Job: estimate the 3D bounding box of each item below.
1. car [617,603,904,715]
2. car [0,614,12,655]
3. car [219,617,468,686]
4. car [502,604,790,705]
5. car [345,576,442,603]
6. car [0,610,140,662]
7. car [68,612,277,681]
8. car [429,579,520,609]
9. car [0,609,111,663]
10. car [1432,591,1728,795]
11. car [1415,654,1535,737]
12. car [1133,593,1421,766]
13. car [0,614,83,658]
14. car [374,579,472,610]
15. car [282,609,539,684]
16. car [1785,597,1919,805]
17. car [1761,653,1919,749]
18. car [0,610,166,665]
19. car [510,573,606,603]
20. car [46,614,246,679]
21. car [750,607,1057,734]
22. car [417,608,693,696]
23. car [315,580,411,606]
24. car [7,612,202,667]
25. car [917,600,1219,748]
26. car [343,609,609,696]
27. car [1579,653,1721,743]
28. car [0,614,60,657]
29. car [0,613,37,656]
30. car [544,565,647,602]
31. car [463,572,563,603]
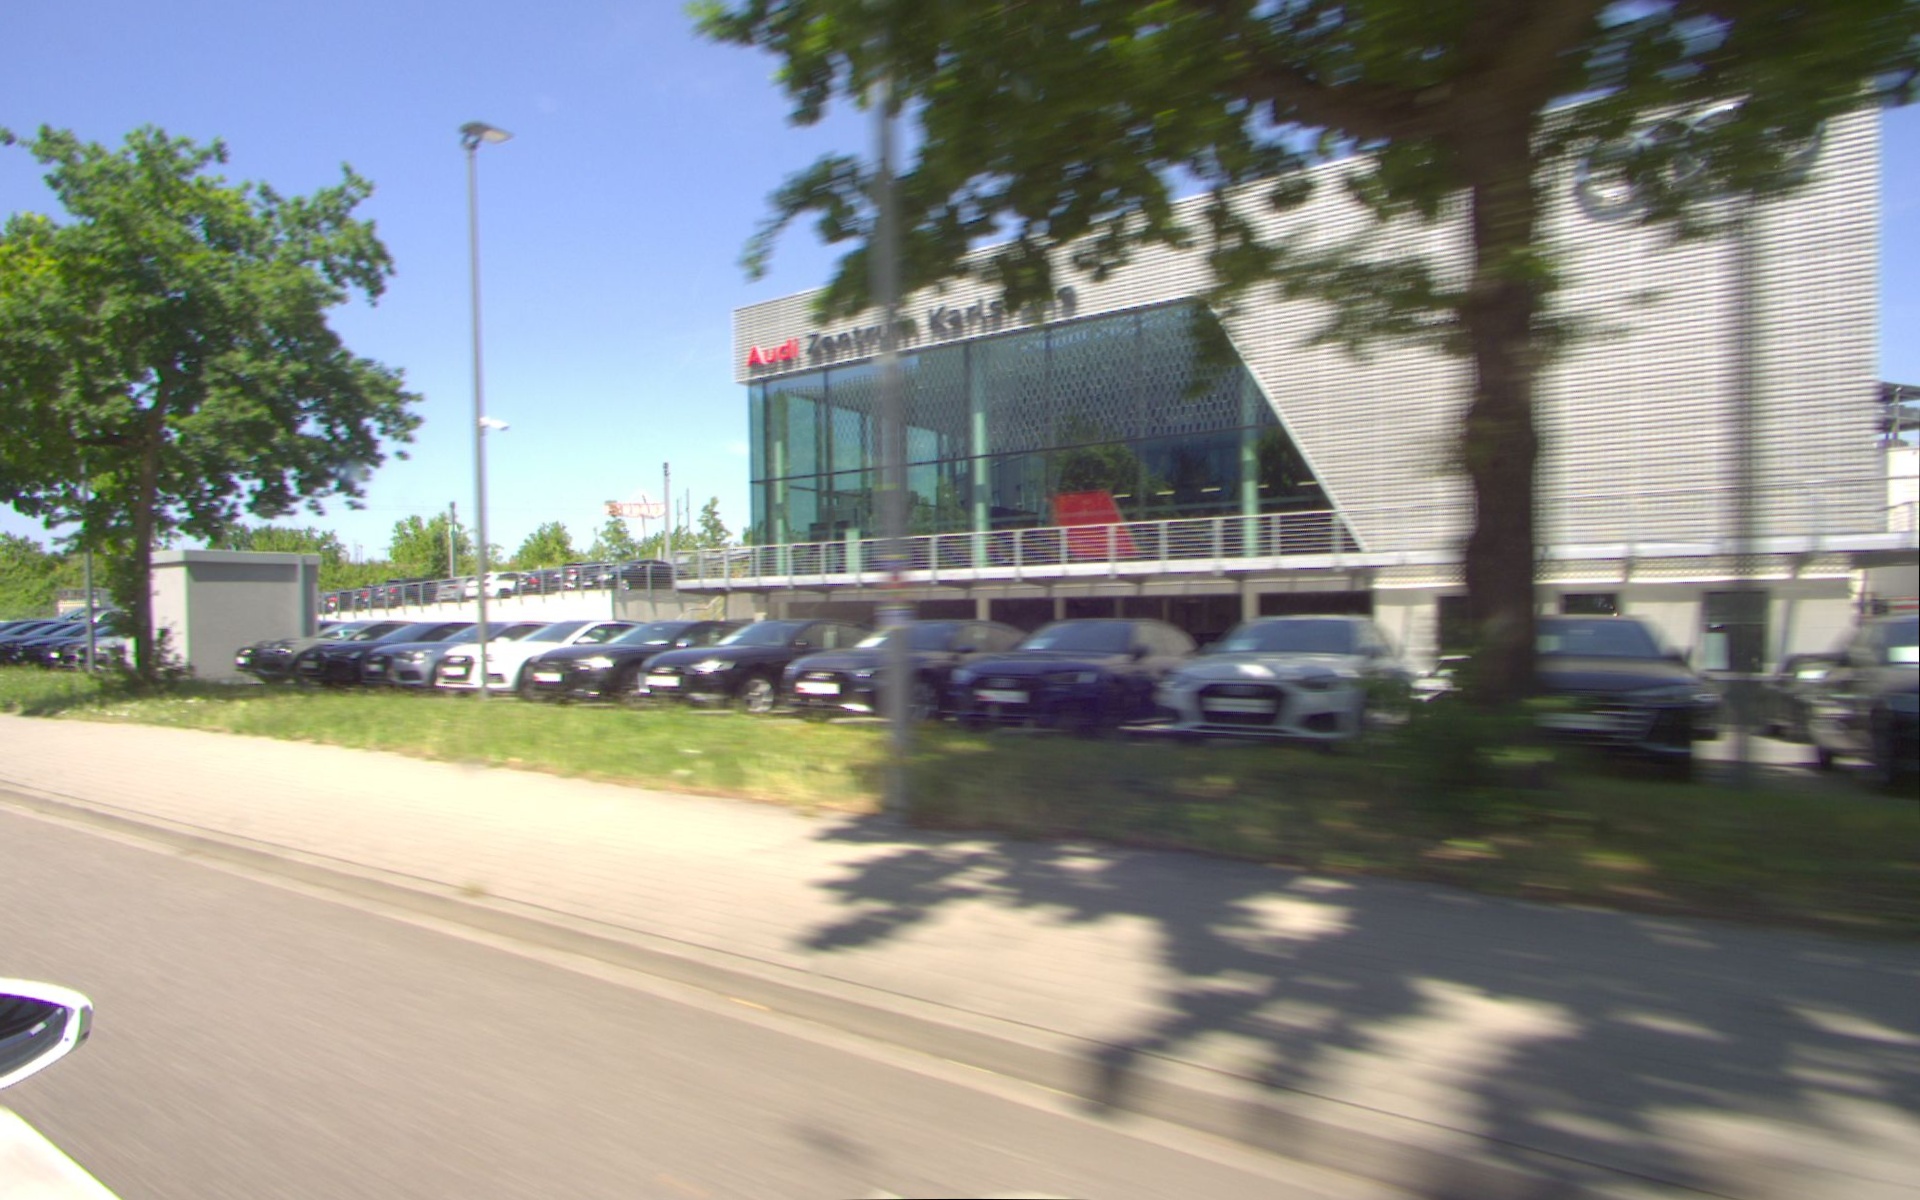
[{"bbox_3d":[-2.759,0.941,14.750,1.754,1.397,4.127,-1,-5,32],"label":"car"},{"bbox_3d":[-40.524,1.262,39.661,1.770,1.623,3.864,0,-5,28],"label":"car"},{"bbox_3d":[-13.296,1.167,21.861,1.890,1.358,4.216,-1,-4,32],"label":"car"},{"bbox_3d":[-4.923,0.959,16.307,1.890,1.401,4.218,-1,-6,32],"label":"car"},{"bbox_3d":[-28.829,-0.510,51.047,1.770,1.329,3.983,-1,0,28],"label":"car"},{"bbox_3d":[-29.658,1.189,32.716,1.770,1.456,3.990,-1,-5,28],"label":"car"},{"bbox_3d":[-21.094,1.301,27.008,1.770,1.637,3.990,0,-5,28],"label":"car"},{"bbox_3d":[-22.626,-0.255,46.788,1.651,1.255,3.522,-1,-2,28],"label":"car"},{"bbox_3d":[-31.850,1.233,34.147,1.770,1.643,3.990,0,-5,28],"label":"car"},{"bbox_3d":[5.708,0.807,9.319,1.890,1.424,4.216,-1,-4,32],"label":"car"},{"bbox_3d":[10.036,1.797,19.352,1.708,1.381,4.216,-1,-4,32],"label":"car"},{"bbox_3d":[3.533,0.811,10.559,1.890,1.424,4.216,-1,-4,32],"label":"car"},{"bbox_3d":[-34.167,1.262,35.640,1.770,1.439,3.990,-1,-5,28],"label":"car"},{"bbox_3d":[-26.575,-0.237,49.661,1.770,1.328,3.986,-1,-2,28],"label":"car"},{"bbox_3d":[-11.137,1.007,20.600,1.890,1.358,4.216,-1,-4,32],"label":"car"},{"bbox_3d":[8.142,0.801,8.008,1.852,1.372,4.216,-1,-4,32],"label":"car"},{"bbox_3d":[14.333,1.592,16.194,1.671,1.358,4.064,-2,-5,32],"label":"car"},{"bbox_3d":[-27.664,1.206,31.315,1.770,1.456,3.990,-1,-5,28],"label":"car"},{"bbox_3d":[-17.624,-0.508,44.018,1.658,1.145,3.723,-1,-2,28],"label":"car"},{"bbox_3d":[-22.811,1.368,28.233,1.770,1.600,3.919,0,-5,28],"label":"car"},{"bbox_3d":[-0.553,0.932,13.272,1.960,1.386,4.216,-1,-4,32],"label":"car"},{"bbox_3d":[-7.013,0.961,17.793,1.890,1.358,4.216,-1,-4,32],"label":"car"},{"bbox_3d":[-31.329,-0.350,52.645,1.770,1.329,3.983,-1,0,28],"label":"car"},{"bbox_3d":[-25.359,1.219,29.837,1.770,1.393,3.990,-1,-5,28],"label":"car"},{"bbox_3d":[1.480,0.887,11.902,1.890,1.424,4.217,-1,-5,32],"label":"car"},{"bbox_3d":[-9.118,1.045,19.232,1.890,1.470,4.216,-1,-4,32],"label":"car"},{"bbox_3d":[12.279,1.715,18.027,1.890,1.378,4.216,-1,-4,32],"label":"car"},{"bbox_3d":[-36.304,1.272,37.189,1.770,1.520,3.864,-1,-5,28],"label":"car"},{"bbox_3d":[-38.374,1.243,38.469,1.770,1.623,3.864,0,-5,28],"label":"car"},{"bbox_3d":[-15.587,-0.659,42.980,1.770,1.328,3.986,-1,-2,28],"label":"car"},{"bbox_3d":[-20.169,-0.528,45.305,1.691,1.227,3.937,-1,-1,28],"label":"car"}]
